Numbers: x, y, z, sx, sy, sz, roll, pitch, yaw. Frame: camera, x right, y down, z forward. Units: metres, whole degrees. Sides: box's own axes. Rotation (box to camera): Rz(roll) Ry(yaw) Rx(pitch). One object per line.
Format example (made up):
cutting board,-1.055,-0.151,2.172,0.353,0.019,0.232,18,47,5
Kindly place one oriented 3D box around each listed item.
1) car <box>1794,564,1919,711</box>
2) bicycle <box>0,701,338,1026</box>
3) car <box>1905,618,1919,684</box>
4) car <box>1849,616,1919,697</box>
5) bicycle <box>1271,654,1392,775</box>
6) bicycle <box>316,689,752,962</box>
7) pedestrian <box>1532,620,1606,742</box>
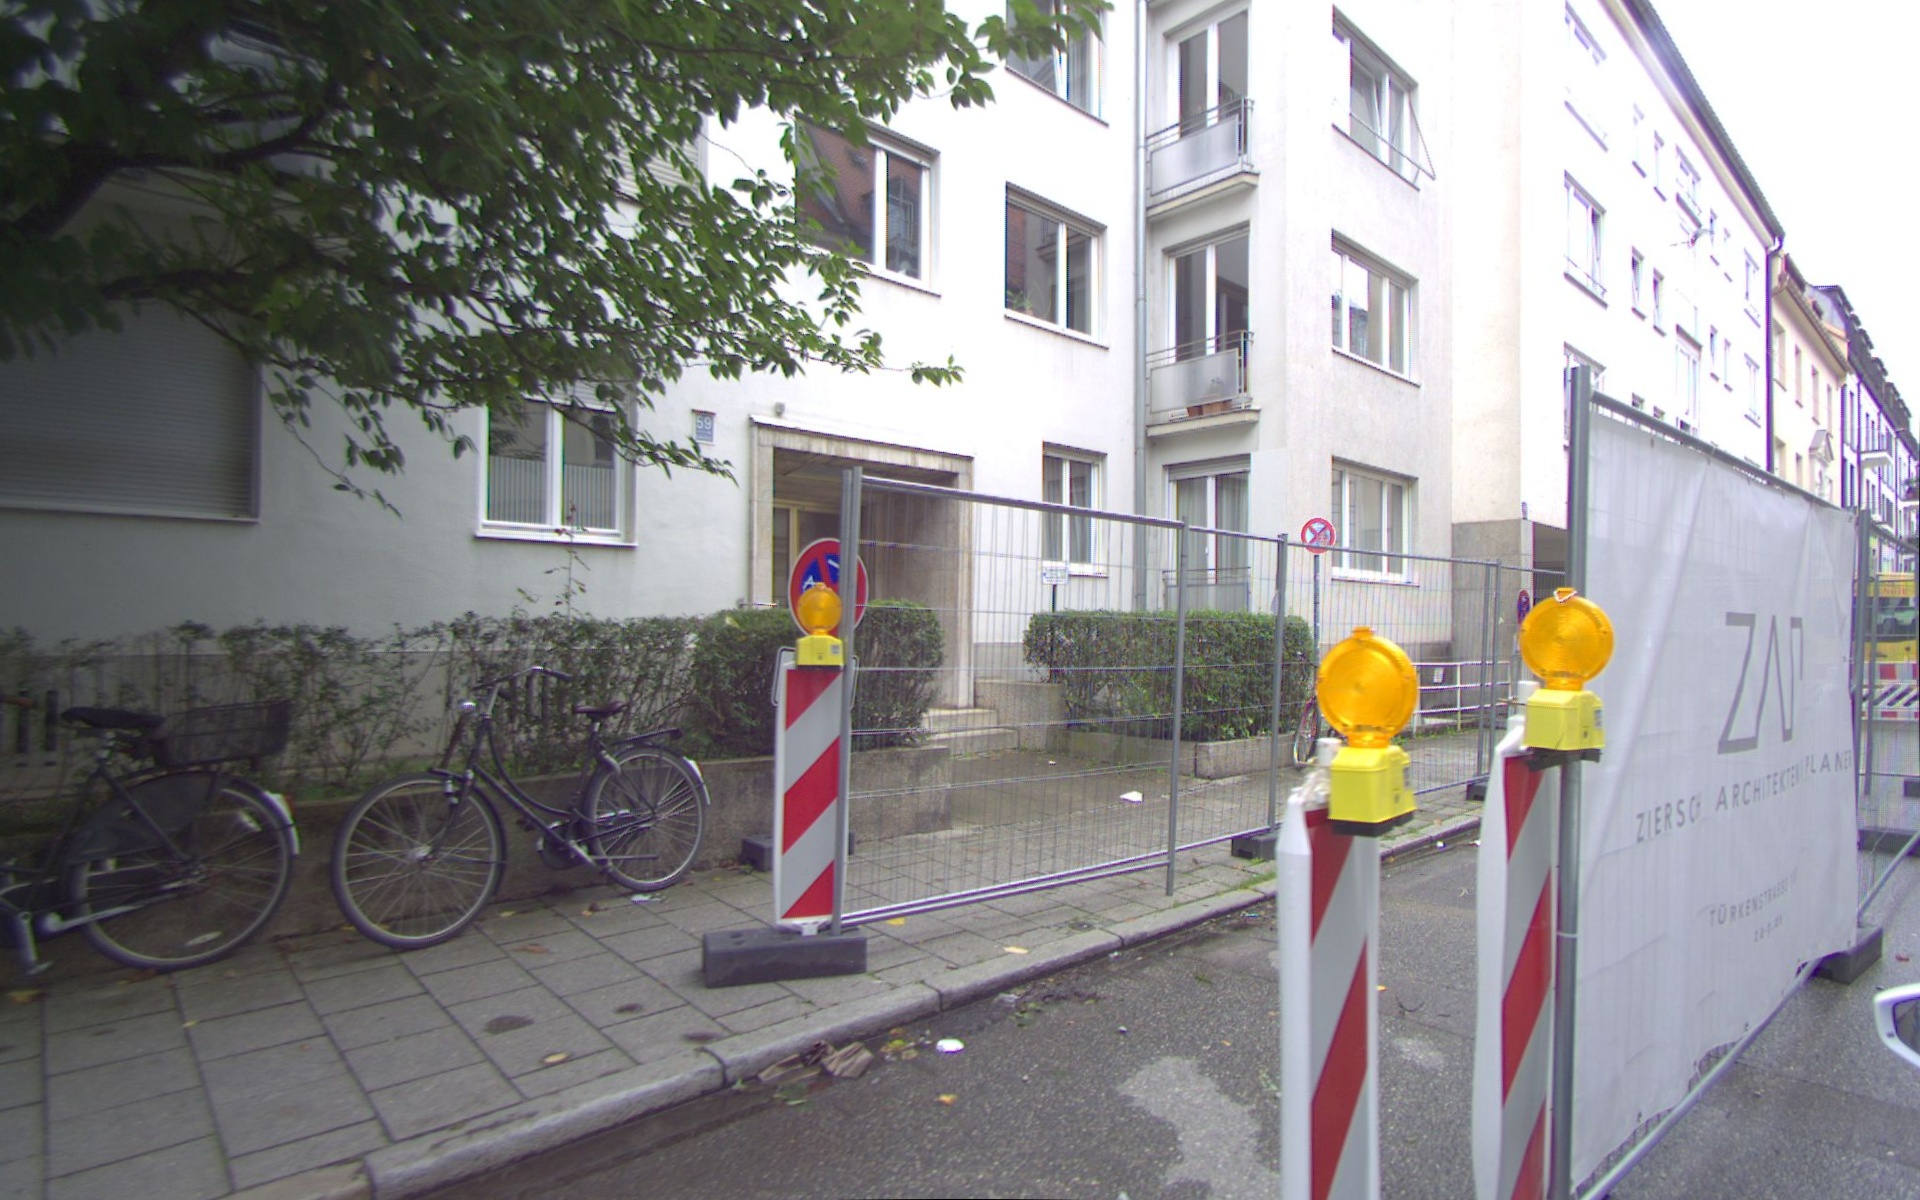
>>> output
car,18.941,0.763,20.675,6.691,2.612,1.974,2,-2,-44
bicycle,-3.263,0.891,3.446,1.840,0.991,0.439,3,0,-42
car,30.482,1.546,30.879,5.470,1.922,1.711,2,-4,-43
car,24.288,1.413,25.727,4.759,1.922,1.898,2,-4,-45
bicycle,3.783,1.119,10.166,1.586,1.077,0.373,2,4,-43
bicycle,-1.898,0.948,4.697,1.802,0.991,0.439,3,0,-42
pedestrian,8.134,1.057,13.418,0.741,1.552,0.632,1,0,-41
